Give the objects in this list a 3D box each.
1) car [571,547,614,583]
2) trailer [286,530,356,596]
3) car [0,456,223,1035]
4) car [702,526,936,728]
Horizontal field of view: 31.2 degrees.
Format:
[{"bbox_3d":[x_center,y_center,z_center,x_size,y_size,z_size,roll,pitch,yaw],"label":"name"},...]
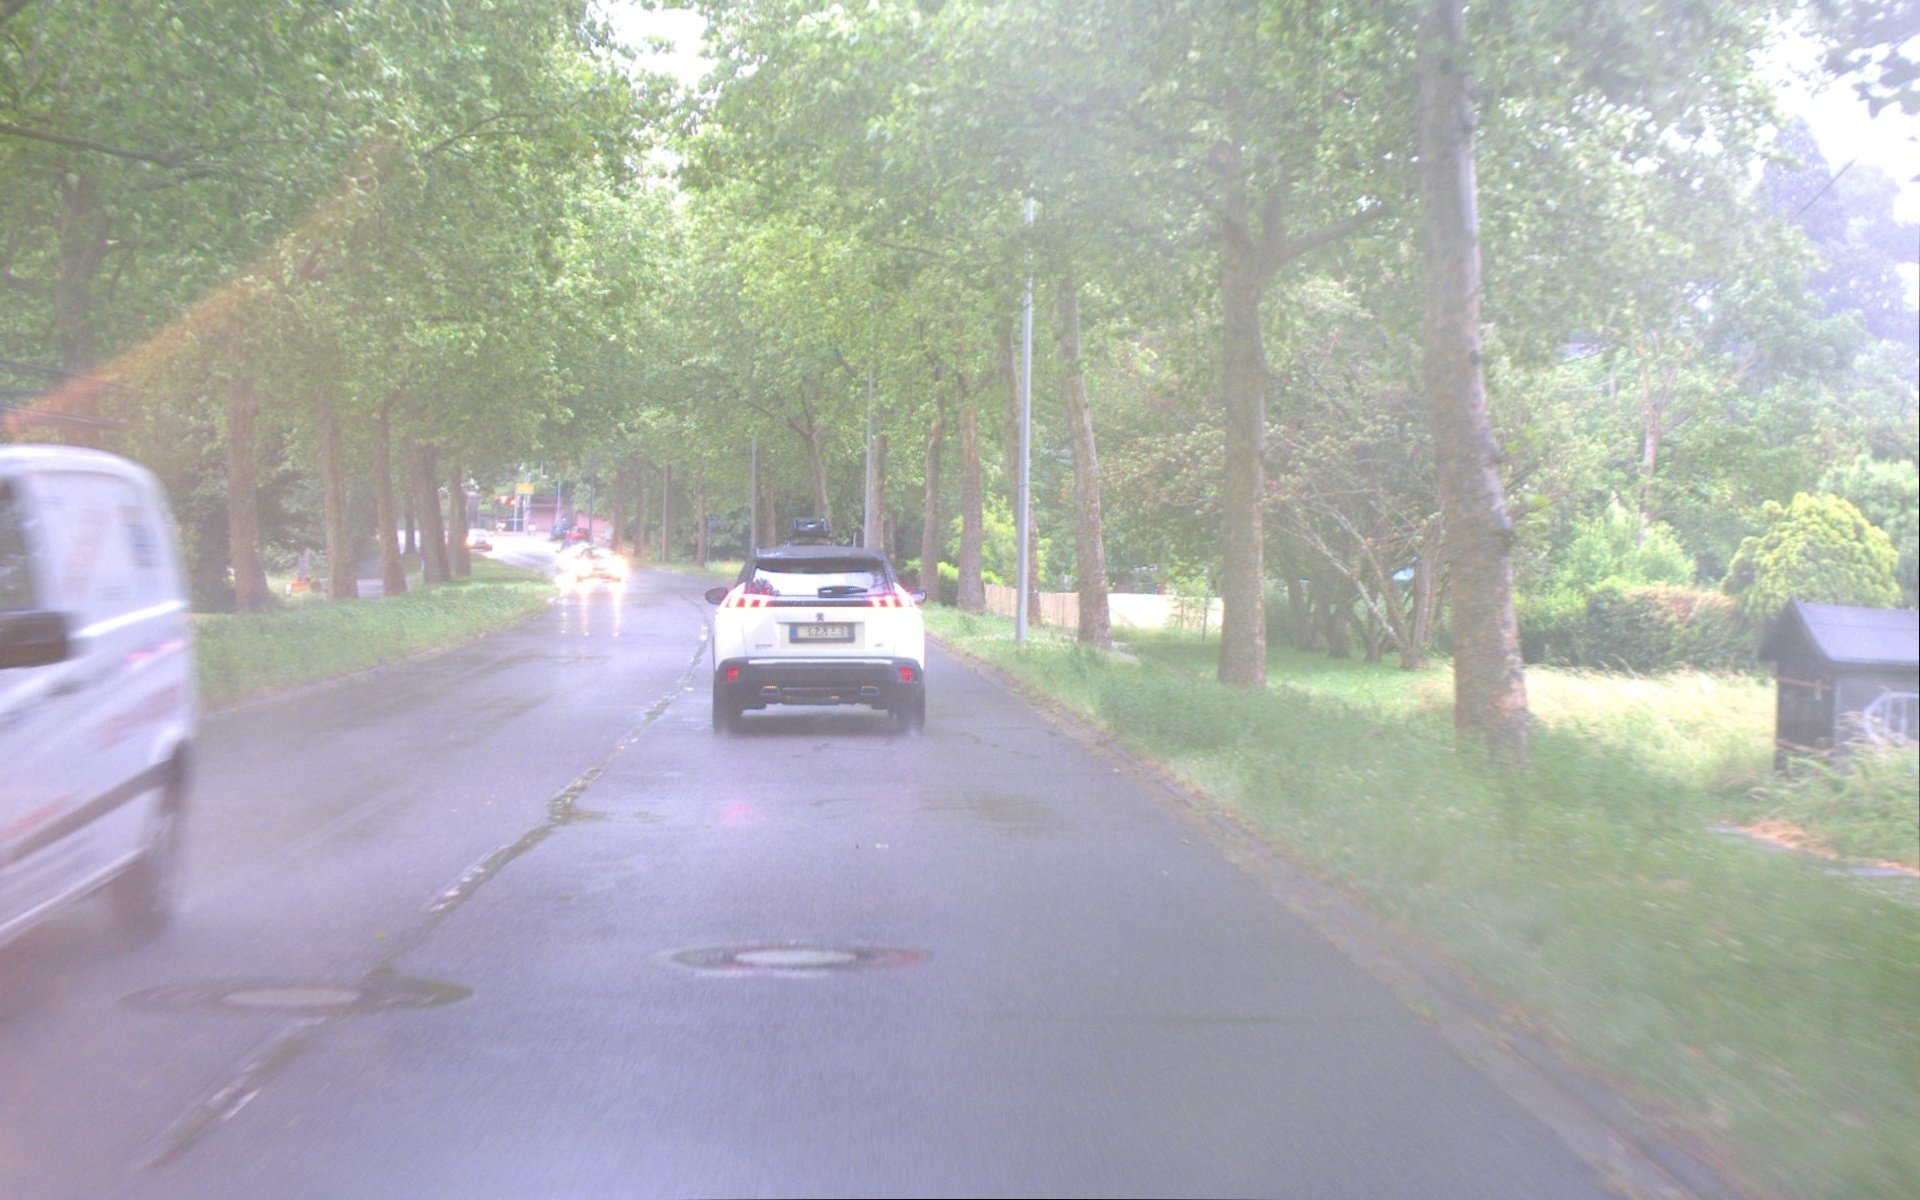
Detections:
[{"bbox_3d":[-15.187,-1.462,141.984,1.731,1.419,4.226,0,1,-6],"label":"car"},{"bbox_3d":[-26.088,-1.535,140.518,2.484,2.558,5.334,1,1,-7],"label":"trailer"},{"bbox_3d":[-3.874,0.429,11.521,1.862,1.744,5.016,-1,1,-2],"label":"car"},{"bbox_3d":[-1.279,0.182,29.639,1.793,1.573,3.845,1,1,-5],"label":"car"}]
